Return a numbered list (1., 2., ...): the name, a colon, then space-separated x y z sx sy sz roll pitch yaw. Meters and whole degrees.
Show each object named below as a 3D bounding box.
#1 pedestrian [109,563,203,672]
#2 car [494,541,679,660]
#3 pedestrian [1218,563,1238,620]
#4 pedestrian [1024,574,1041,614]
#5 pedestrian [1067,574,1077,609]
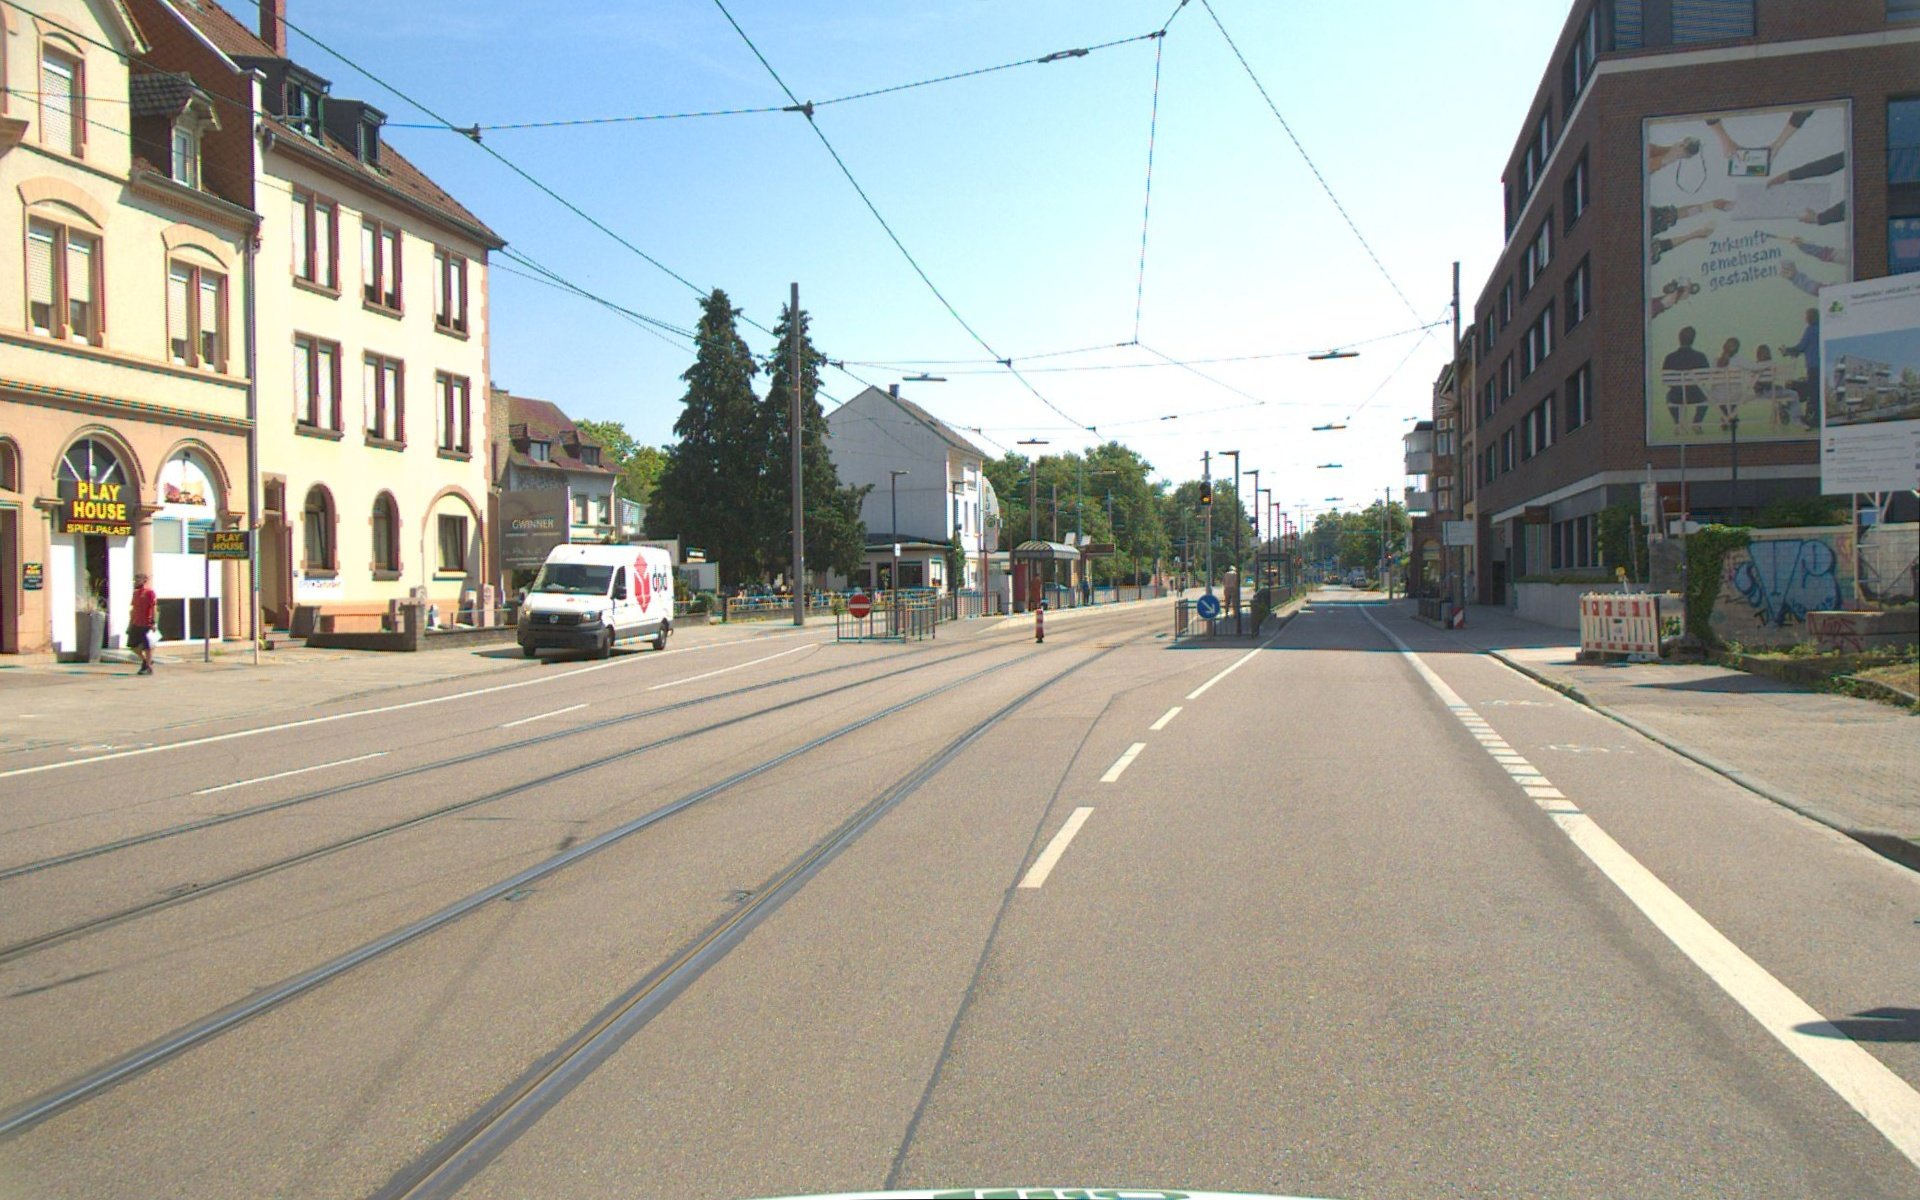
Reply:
1. pedestrian: -13.907 0.297 28.639 0.922 1.847 1.131 -1 1 15
2. car: -8.777 -0.033 39.616 2.280 2.580 6.511 1 1 6
3. pedestrian: 8.623 -0.278 53.219 0.544 1.790 0.794 -2 1 7
4. pedestrian: 3.124 -0.253 71.683 0.690 1.719 0.417 -1 0 5
5. pedestrian: 5.591 -0.436 82.334 0.406 1.719 0.707 -1 0 -1
